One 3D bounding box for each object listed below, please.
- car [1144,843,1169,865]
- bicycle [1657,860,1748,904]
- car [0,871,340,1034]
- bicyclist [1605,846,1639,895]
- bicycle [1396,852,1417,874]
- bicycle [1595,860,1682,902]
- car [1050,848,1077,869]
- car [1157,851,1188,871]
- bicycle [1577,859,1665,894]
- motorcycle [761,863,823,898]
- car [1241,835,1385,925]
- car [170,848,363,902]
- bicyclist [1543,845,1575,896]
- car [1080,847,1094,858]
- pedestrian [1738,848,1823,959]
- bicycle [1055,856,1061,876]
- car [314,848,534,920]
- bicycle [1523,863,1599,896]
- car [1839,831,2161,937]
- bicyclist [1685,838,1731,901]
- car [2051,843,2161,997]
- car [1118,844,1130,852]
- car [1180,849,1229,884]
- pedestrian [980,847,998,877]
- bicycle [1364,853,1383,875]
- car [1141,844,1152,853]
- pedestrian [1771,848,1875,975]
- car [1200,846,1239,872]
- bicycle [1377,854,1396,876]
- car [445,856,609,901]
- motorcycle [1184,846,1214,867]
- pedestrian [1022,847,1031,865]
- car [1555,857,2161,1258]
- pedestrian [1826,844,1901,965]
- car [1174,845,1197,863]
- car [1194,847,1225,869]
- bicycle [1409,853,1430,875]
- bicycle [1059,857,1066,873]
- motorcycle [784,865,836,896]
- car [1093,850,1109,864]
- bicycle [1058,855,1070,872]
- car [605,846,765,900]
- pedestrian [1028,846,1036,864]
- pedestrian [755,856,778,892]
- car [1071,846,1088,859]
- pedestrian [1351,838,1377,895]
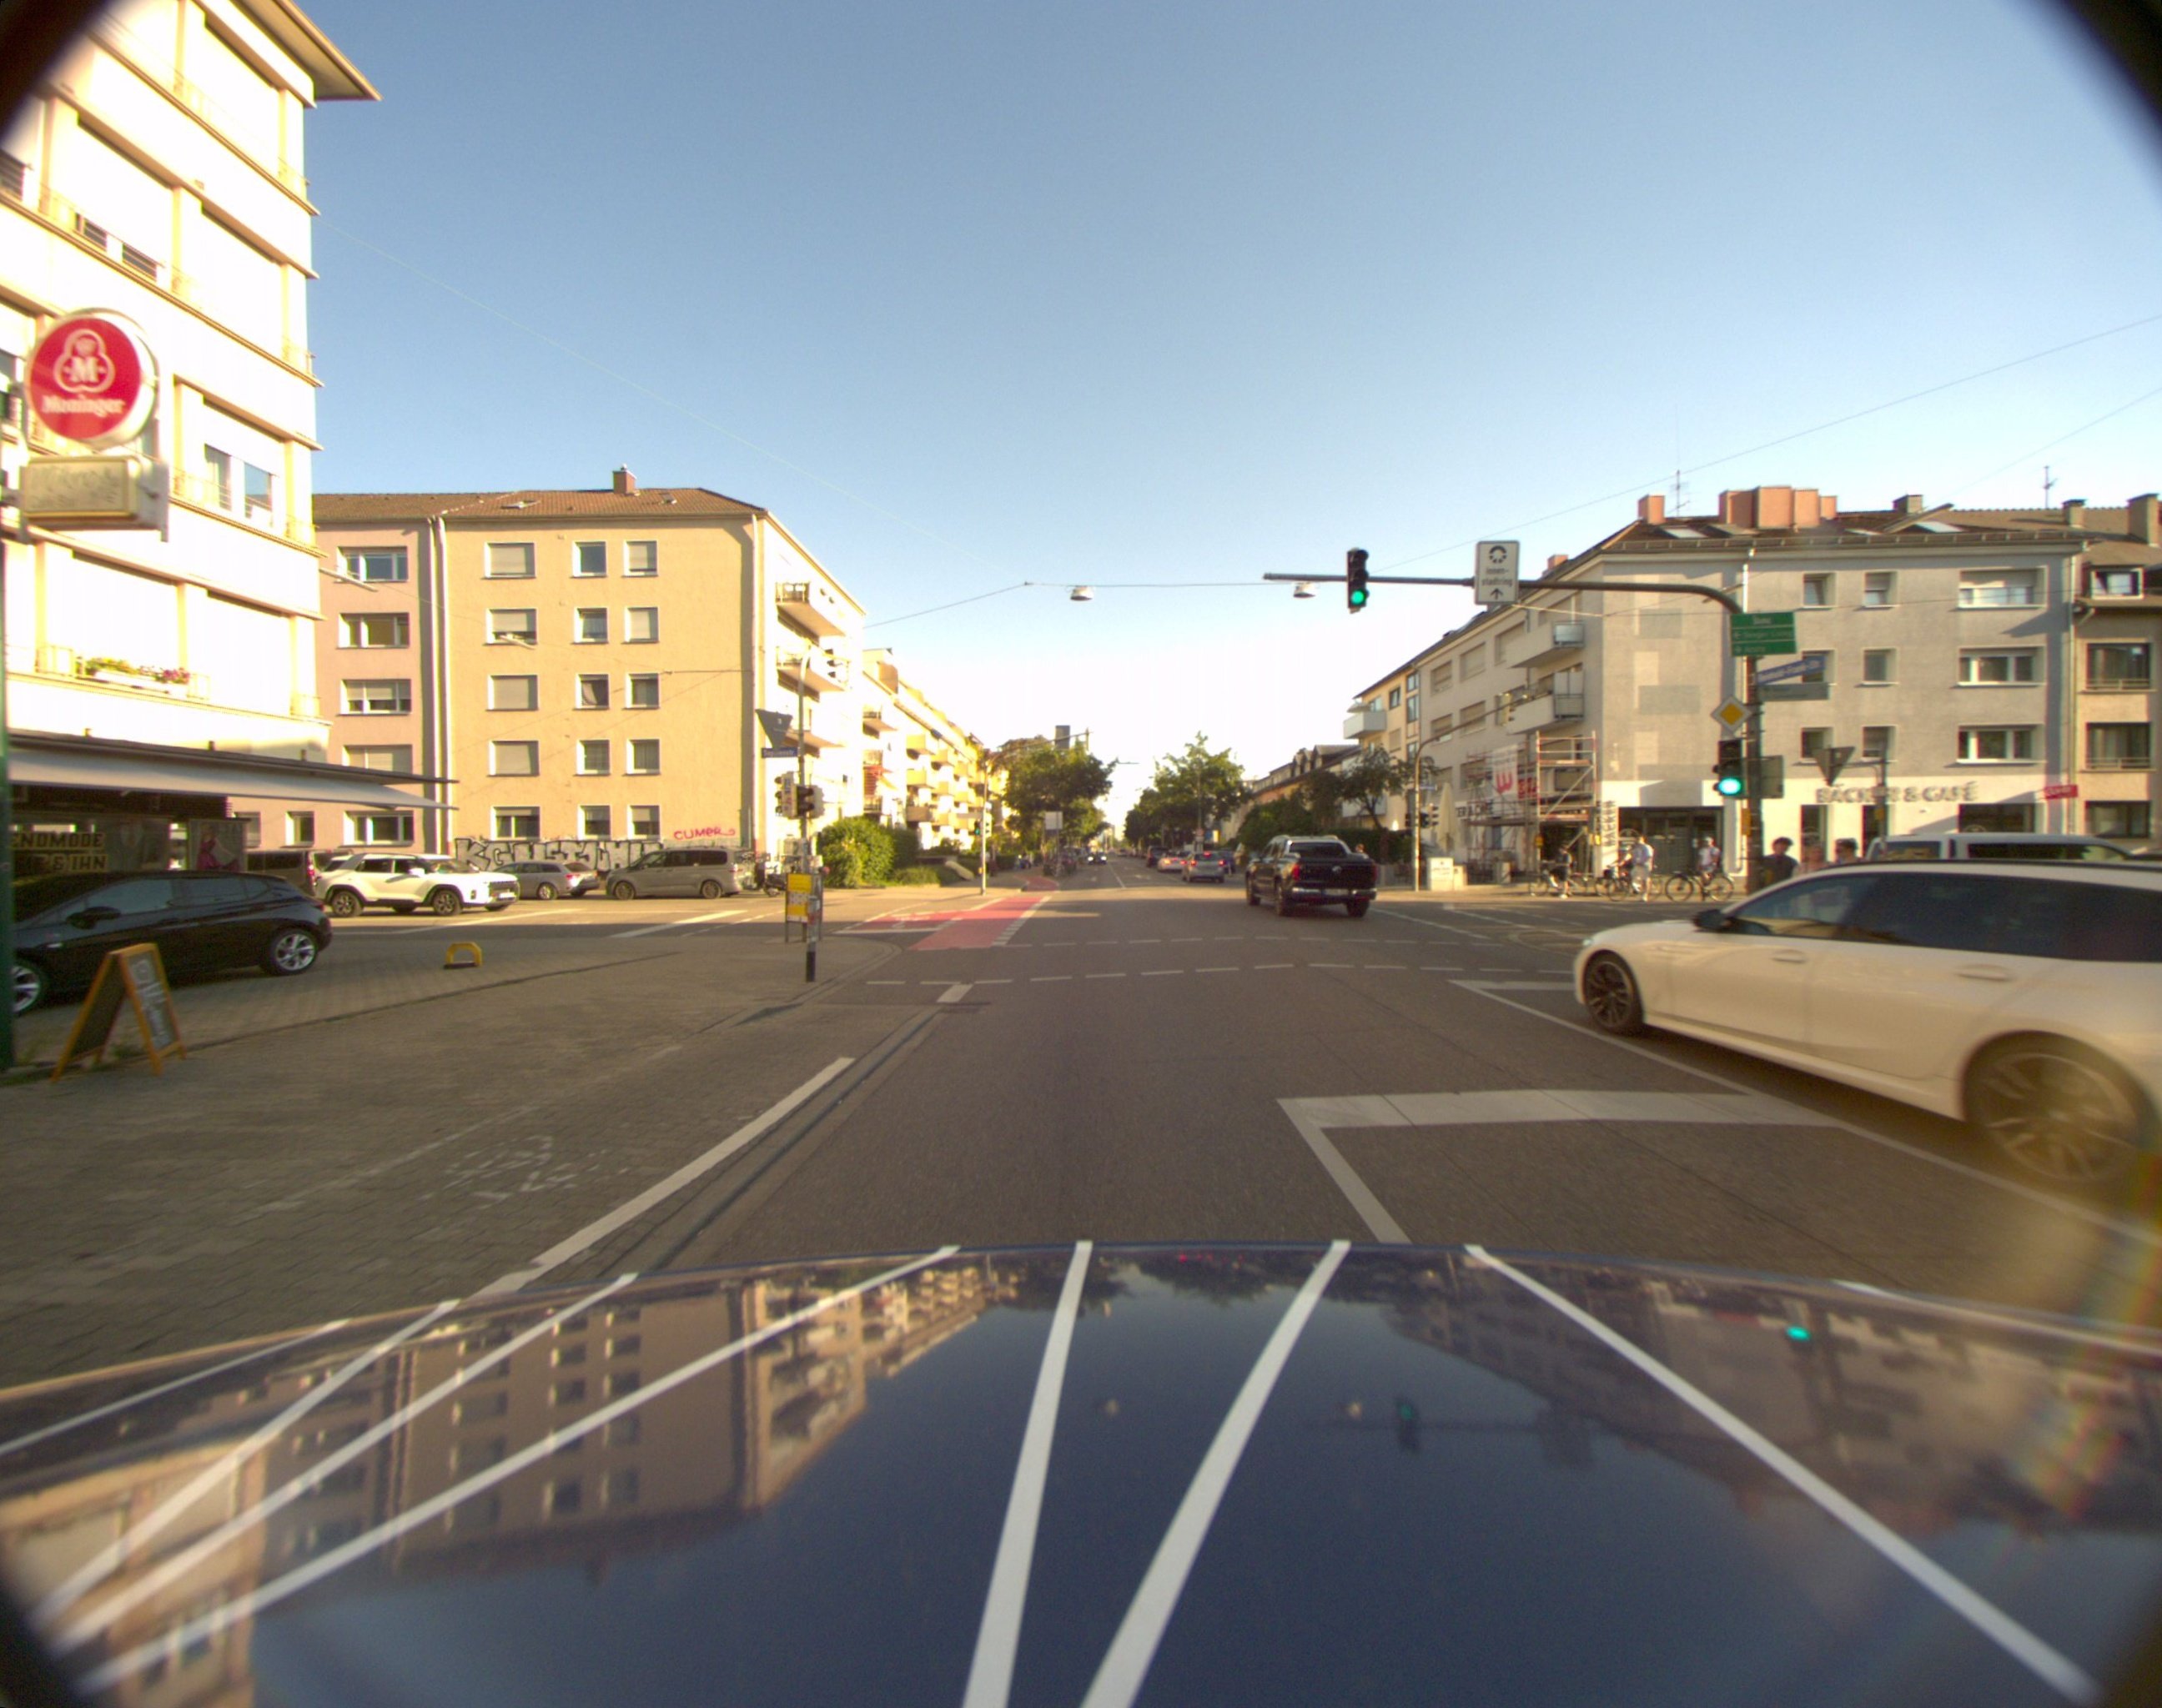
[{"bbox_3d":[6.588,-0.054,66.707,1.842,1.866,4.409,-1,1,0],"label":"car"},{"bbox_3d":[17.101,0.757,20.924,1.999,1.150,0.728,-1,0,-5],"label":"bicycle"},{"bbox_3d":[-11.460,1.022,8.645,1.832,1.476,4.203,-1,1,2],"label":"car"},{"bbox_3d":[18.231,0.544,25.623,0.687,1.586,0.751,1,4,20],"label":"bicyclist"},{"bbox_3d":[15.866,0.424,37.054,0.439,1.009,1.477,-1,1,4],"label":"bicycle"},{"bbox_3d":[15.903,0.760,21.695,1.999,1.159,0.728,-1,0,-5],"label":"bicycle"},{"bbox_3d":[-1.300,0.288,57.772,1.744,1.509,3.811,-1,1,4],"label":"car"},{"bbox_3d":[6.323,0.459,52.838,1.845,1.312,4.441,0,1,2],"label":"car"},{"bbox_3d":[18.186,0.750,25.654,2.266,1.083,0.729,1,4,20],"label":"bicycle"},{"bbox_3d":[-10.539,0.968,27.769,1.992,1.194,0.774,-1,1,-11],"label":"motorcycle"},{"bbox_3d":[5.327,0.500,18.260,1.866,1.819,5.226,1,1,1],"label":"car"},{"bbox_3d":[-30.354,0.745,28.446,5.073,1.896,1.953,-1,1,0],"label":"car"},{"bbox_3d":[15.793,0.543,25.108,0.672,1.643,0.751,0,0,11],"label":"bicyclist"},{"bbox_3d":[0.919,-0.218,114.241,1.744,1.509,3.811,-1,1,4],"label":"car"},{"bbox_3d":[10.742,0.743,11.690,0.750,1.648,0.608,-1,1,-6],"label":"pedestrian"},{"bbox_3d":[-1.405,0.703,45.991,0.325,1.138,1.800,-1,1,-3],"label":"bicycle"},{"bbox_3d":[-18.015,0.786,20.983,4.351,1.827,1.953,-1,1,1],"label":"car"},{"bbox_3d":[15.828,0.838,25.107,1.996,1.083,0.728,-1,0,11],"label":"bicycle"},{"bbox_3d":[17.542,0.519,14.361,4.483,1.837,1.908,-1,1,1],"label":"car"},{"bbox_3d":[17.263,0.427,20.935,0.608,1.711,0.750,-1,0,-4],"label":"bicyclist"},{"bbox_3d":[13.906,0.642,8.198,4.603,1.604,1.843,-2,1,-1],"label":"car"},{"bbox_3d":[8.862,-1.311,157.939,1.843,1.604,4.406,-1,1,-6],"label":"car"},{"bbox_3d":[5.994,0.560,37.243,1.809,1.548,4.000,-1,1,2],"label":"car"},{"bbox_3d":[-5.092,0.433,42.132,0.830,1.673,0.660,0,1,5],"label":"pedestrian"},{"bbox_3d":[14.365,0.479,37.302,0.439,1.009,1.477,-1,1,4],"label":"bicycle"},{"bbox_3d":[10.837,-0.907,126.512,1.642,1.554,3.659,-1,1,2],"label":"car"},{"bbox_3d":[9.880,0.736,10.140,0.608,1.585,0.749,-4,2,-1],"label":"pedestrian"},{"bbox_3d":[9.056,0.292,49.981,1.810,1.605,3.950,-1,1,-1],"label":"car"},{"bbox_3d":[14.971,0.526,37.246,0.439,1.009,1.477,-1,1,4],"label":"bicycle"},{"bbox_3d":[-20.651,0.887,28.477,4.620,1.533,1.952,-1,2,-1],"label":"car"},{"bbox_3d":[9.155,0.171,59.108,1.263,1.526,2.887,-1,1,-13],"label":"motorcycle"},{"bbox_3d":[-4.929,0.192,69.248,0.659,1.673,0.831,0,1,7],"label":"pedestrian"},{"bbox_3d":[5.071,0.794,4.364,1.841,1.465,4.671,1,1,2],"label":"car"},{"bbox_3d":[11.157,0.694,10.856,0.607,1.620,0.751,-3,3,38],"label":"pedestrian"},{"bbox_3d":[9.808,-0.041,71.380,1.734,1.605,4.197,-1,1,2],"label":"car"},{"bbox_3d":[9.201,0.263,54.568,1.755,1.526,3.572,-1,1,3],"label":"car"},{"bbox_3d":[16.484,0.468,37.000,0.439,1.009,1.477,-1,1,4],"label":"bicycle"},{"bbox_3d":[-1.180,0.713,48.206,0.325,0.981,1.191,-1,1,6],"label":"bicycle"},{"bbox_3d":[-10.275,0.990,28.829,1.698,1.105,0.594,-1,1,2],"label":"motorcycle"},{"bbox_3d":[2.113,0.320,81.319,1.640,1.482,4.415,0,1,1],"label":"car"},{"bbox_3d":[-1.120,0.625,50.800,0.324,1.138,1.802,0,1,15],"label":"bicycle"},{"bbox_3d":[-14.618,0.673,28.269,4.841,1.855,1.952,-1,2,-1],"label":"car"},{"bbox_3d":[-4.568,0.101,71.161,0.659,1.673,0.831,0,1,7],"label":"pedestrian"},{"bbox_3d":[-12.545,0.782,30.301,0.641,1.383,0.594,-1,1,1],"label":"pedestrian"},{"bbox_3d":[-0.189,-0.203,92.737,1.744,1.509,3.811,-1,1,4],"label":"car"},{"bbox_3d":[10.257,0.446,27.586,0.645,2.002,0.814,-2,2,2],"label":"pedestrian"}]
